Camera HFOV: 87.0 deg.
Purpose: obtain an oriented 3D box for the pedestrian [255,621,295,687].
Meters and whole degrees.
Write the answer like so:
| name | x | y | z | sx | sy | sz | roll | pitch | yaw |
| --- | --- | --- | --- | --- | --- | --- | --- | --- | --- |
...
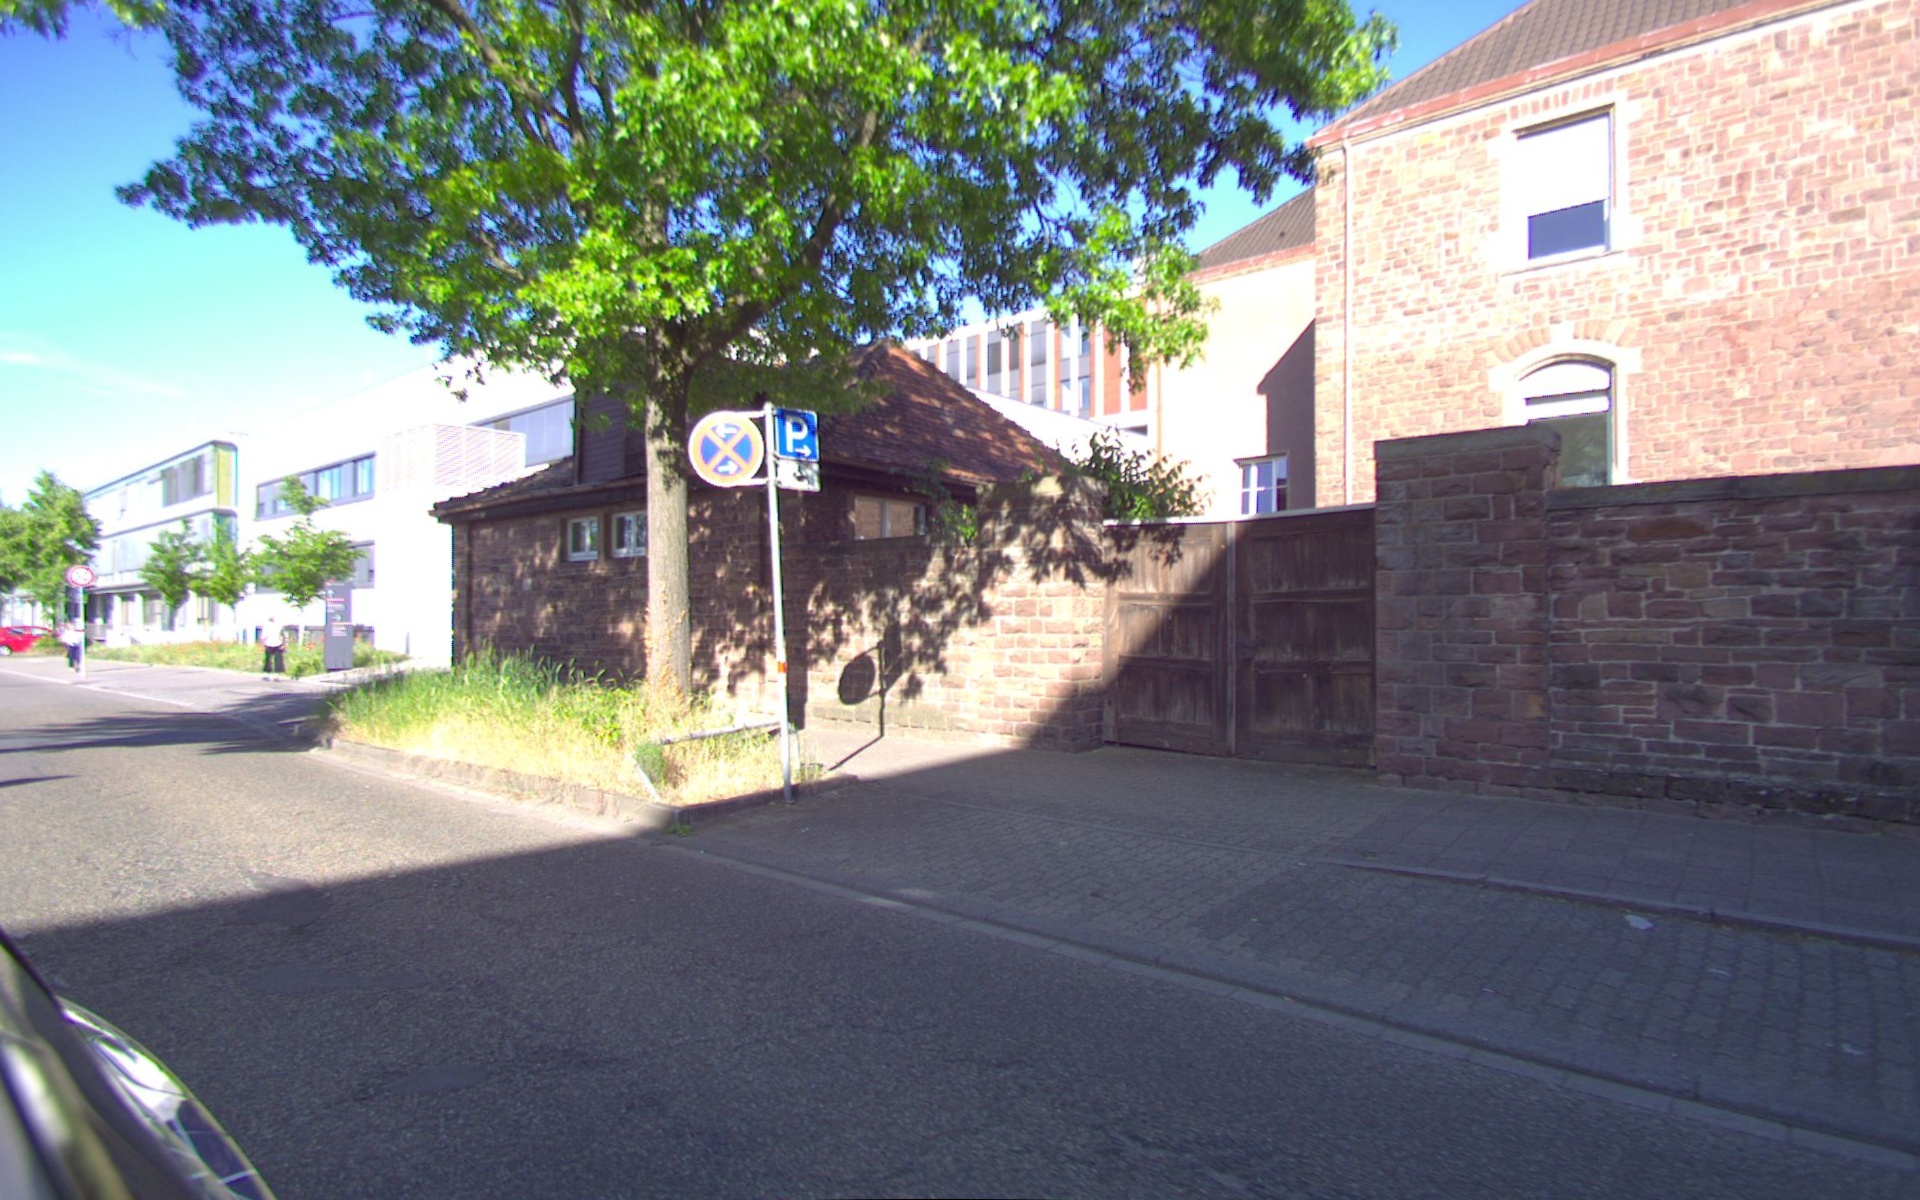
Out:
| name | x | y | z | sx | sy | sz | roll | pitch | yaw |
| --- | --- | --- | --- | --- | --- | --- | --- | --- | --- |
| pedestrian | -16.755 | 1.315 | 24.754 | 1.095 | 1.574 | 0.516 | -2 | -2 | 40 |

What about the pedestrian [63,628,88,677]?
| name | x | y | z | sx | sy | sz | roll | pitch | yaw |
| --- | --- | --- | --- | --- | --- | --- | --- | --- | --- |
| pedestrian | -28.591 | 1.682 | 32.704 | 0.607 | 1.535 | 0.532 | -2 | -2 | 41 |

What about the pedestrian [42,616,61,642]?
| name | x | y | z | sx | sy | sz | roll | pitch | yaw |
| --- | --- | --- | --- | --- | --- | --- | --- | --- | --- |
| pedestrian | -55.498 | 1.763 | 61.829 | 0.779 | 1.561 | 0.765 | -1 | 0 | 40 |

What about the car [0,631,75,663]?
| name | x | y | z | sx | sy | sz | roll | pitch | yaw |
| --- | --- | --- | --- | --- | --- | --- | --- | --- | --- |
| car | -46.611 | 2.345 | 50.543 | 3.592 | 1.480 | 1.615 | -1 | -1 | -43 |

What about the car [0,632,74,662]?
| name | x | y | z | sx | sy | sz | roll | pitch | yaw |
| --- | --- | --- | --- | --- | --- | --- | --- | --- | --- |
| car | -48.187 | 2.417 | 51.520 | 1.700 | 1.378 | 4.462 | -2 | -1 | 43 |

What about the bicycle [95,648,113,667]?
| name | x | y | z | sx | sy | sz | roll | pitch | yaw |
| --- | --- | --- | --- | --- | --- | --- | --- | --- | --- |
| bicycle | -51.142 | 3.419 | 60.464 | 1.860 | 1.120 | 0.529 | -2 | -3 | 41 |

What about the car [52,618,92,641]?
| name | x | y | z | sx | sy | sz | roll | pitch | yaw |
| --- | --- | --- | --- | --- | --- | --- | --- | --- | --- |
| car | -76.733 | 2.585 | 87.444 | 4.707 | 1.905 | 1.900 | -2 | -2 | 40 |
